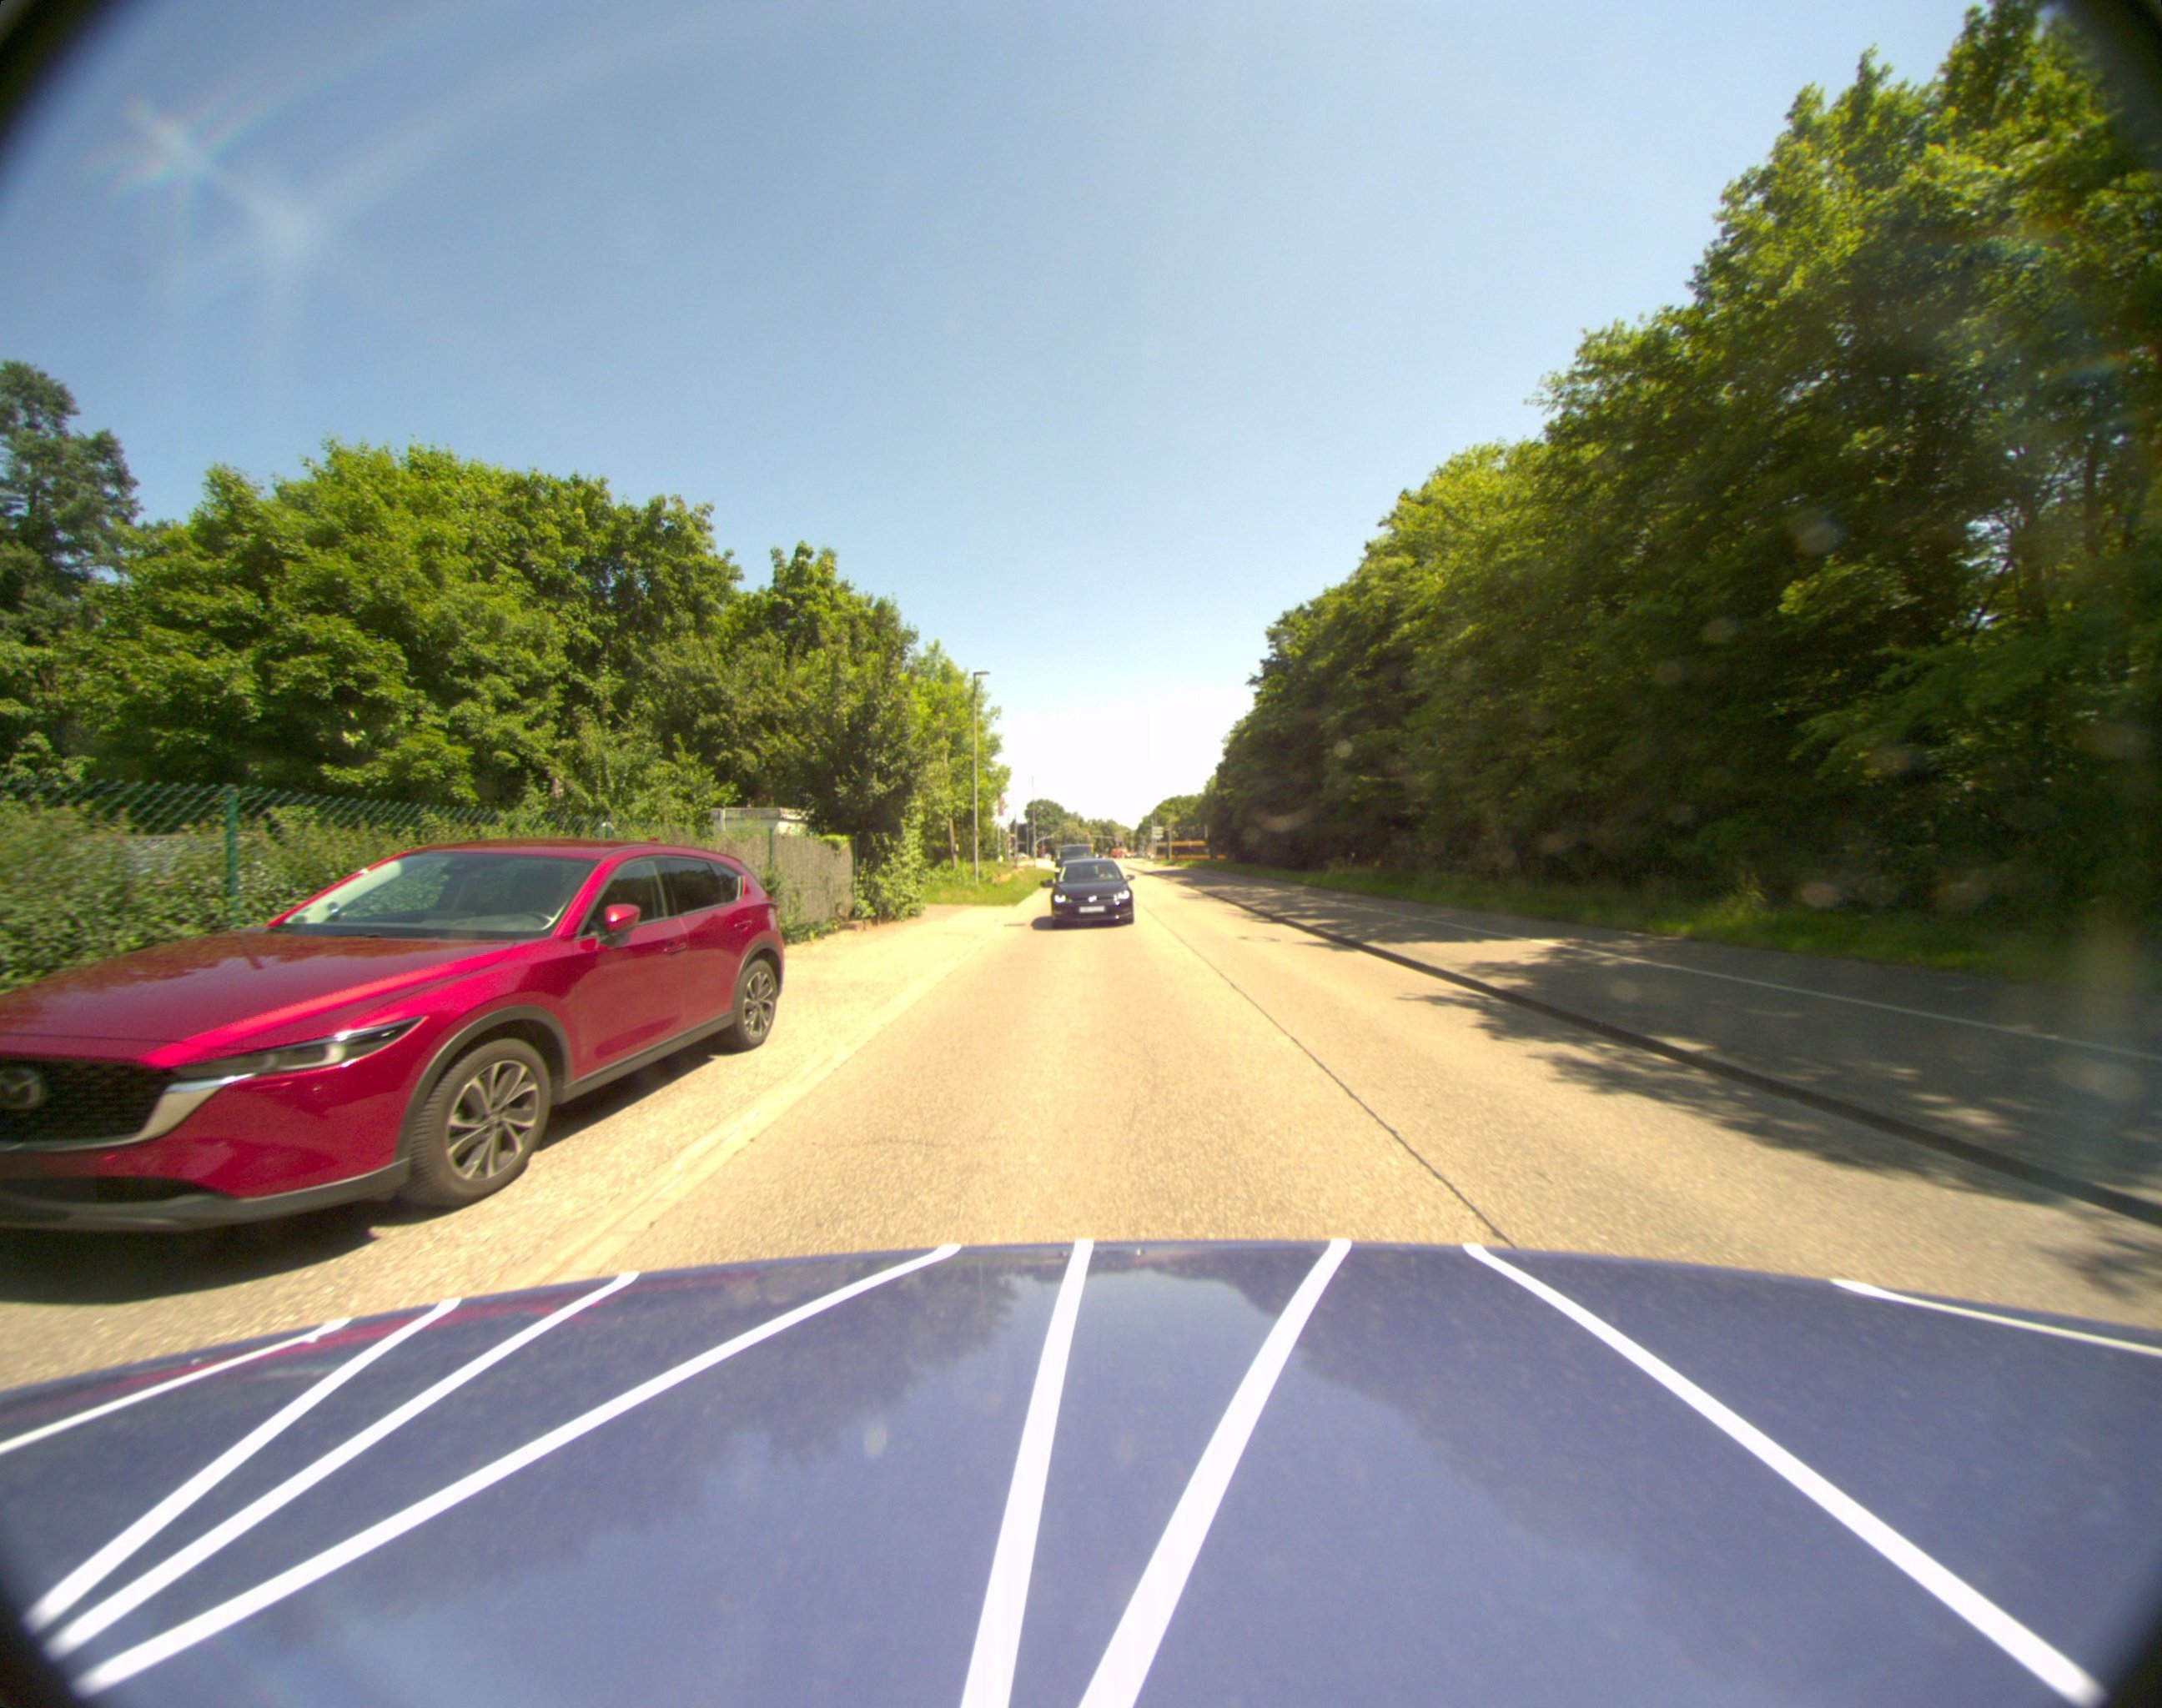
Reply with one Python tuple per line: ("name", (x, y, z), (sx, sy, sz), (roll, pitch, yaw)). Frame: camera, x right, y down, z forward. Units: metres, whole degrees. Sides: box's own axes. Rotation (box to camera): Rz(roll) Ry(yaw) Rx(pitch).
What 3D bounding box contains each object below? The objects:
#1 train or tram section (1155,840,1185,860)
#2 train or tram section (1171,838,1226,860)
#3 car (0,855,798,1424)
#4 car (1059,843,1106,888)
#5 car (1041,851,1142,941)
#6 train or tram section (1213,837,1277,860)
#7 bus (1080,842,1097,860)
("train or tram section", (15.812, -0.678, 135.828), (2.579, 3.446, 10.846), (-1, 0, -7))
("train or tram section", (19.350, -0.732, 126.096), (2.655, 3.446, 10.827), (-2, 1, -32))
("car", (-3.513, 0.878, 4.562), (1.793, 1.648, 4.452), (3, 0, 2))
("car", (0.001, 0.507, 36.428), (2.002, 1.965, 4.449), (-1, 0, -2))
("car", (0.253, 0.794, 16.797), (1.887, 1.667, 4.662), (-1, 0, 1))
("train or tram section", (25.715, -0.864, 119.578), (9.326, 3.446, 2.788), (-1, 1, 32))
("bus", (1.461, -0.595, 142.770), (2.931, 3.248, 8.329), (-3, 0, 1))
